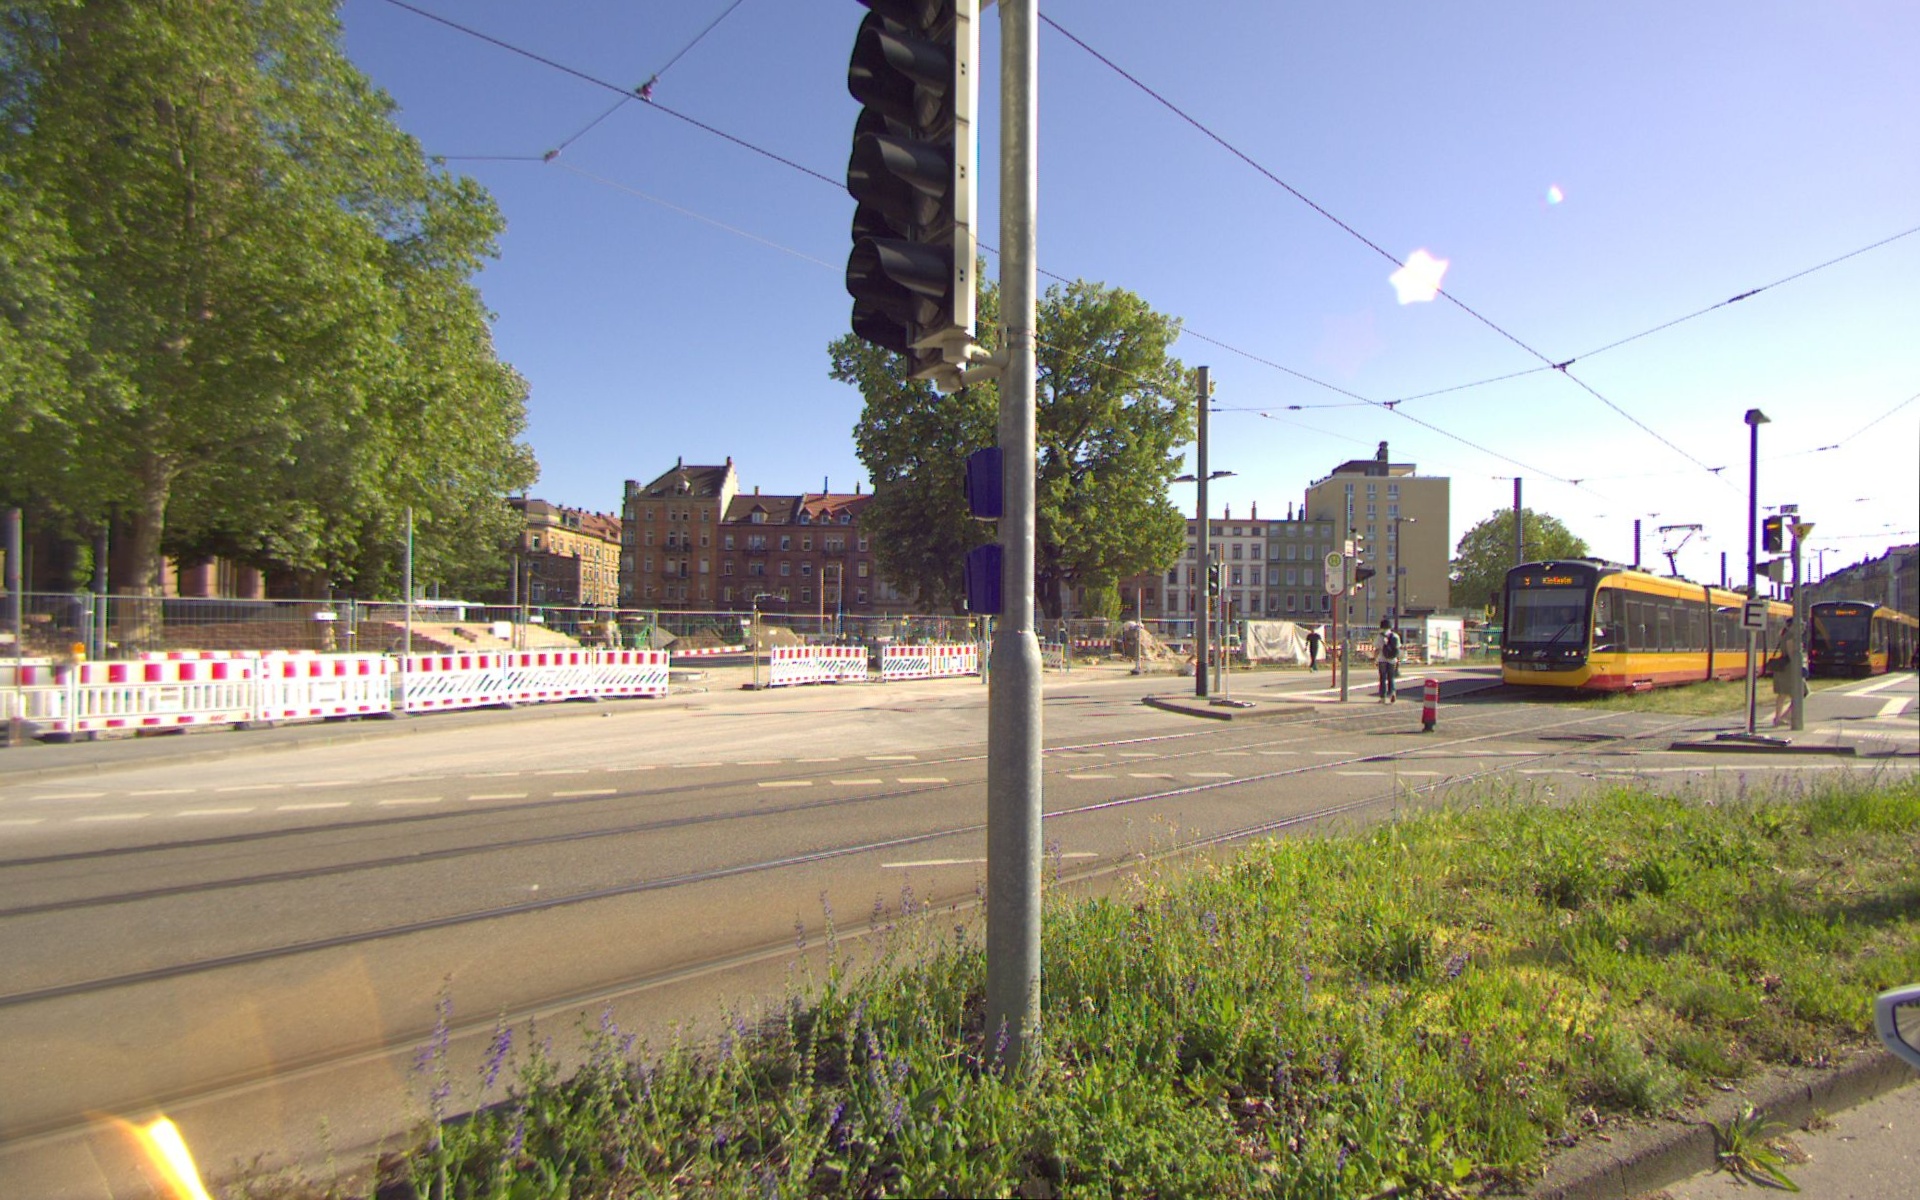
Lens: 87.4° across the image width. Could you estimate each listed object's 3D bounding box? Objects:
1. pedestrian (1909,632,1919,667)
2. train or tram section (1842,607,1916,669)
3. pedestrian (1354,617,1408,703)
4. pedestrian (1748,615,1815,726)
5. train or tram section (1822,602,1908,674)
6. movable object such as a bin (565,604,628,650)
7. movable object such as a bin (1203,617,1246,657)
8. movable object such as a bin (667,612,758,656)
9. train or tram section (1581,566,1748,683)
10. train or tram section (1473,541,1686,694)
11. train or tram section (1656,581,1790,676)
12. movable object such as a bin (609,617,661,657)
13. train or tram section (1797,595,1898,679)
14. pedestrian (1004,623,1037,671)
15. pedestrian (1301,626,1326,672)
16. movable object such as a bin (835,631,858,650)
[{"bbox_3d":[50.991,2.638,53.453,0.625,1.881,0.699,1,-1,41],"label":"pedestrian"},{"bbox_3d":[56.661,2.320,61.815,10.474,3.554,2.842,2,-2,-45],"label":"train or tram section"},{"bbox_3d":[9.377,1.324,22.407,0.745,1.856,1.020,1,-2,-1],"label":"pedestrian"},{"bbox_3d":[14.400,1.211,17.626,0.888,1.875,0.760,-1,0,39],"label":"pedestrian"},{"bbox_3d":[49.139,2.038,54.435,10.474,3.554,2.842,3,-2,-45],"label":"train or tram section"},{"bbox_3d":[-27.234,2.029,75.438,3.060,3.214,5.244,2,-1,-5],"label":"movable object such as a bin"},{"bbox_3d":[19.910,2.745,75.655,1.799,2.833,3.997,2,-1,-5],"label":"movable object such as a bin"},{"bbox_3d":[-17.690,2.426,71.919,5.968,2.795,1.894,3,-1,-3],"label":"movable object such as a bin"},{"bbox_3d":[25.013,0.902,35.356,10.539,3.554,2.789,2,-1,-44],"label":"train or tram section"},{"bbox_3d":[17.616,0.591,28.099,2.789,3.554,10.412,-1,-2,45],"label":"train or tram section"},{"bbox_3d":[32.685,1.238,42.780,11.134,3.554,2.789,2,-1,-44],"label":"train or tram section"},{"bbox_3d":[-20.745,2.322,64.248,1.857,2.377,4.230,2,-1,0],"label":"movable object such as a bin"},{"bbox_3d":[41.769,1.723,47.139,10.474,3.554,2.842,3,-2,-45],"label":"train or tram section"},{"bbox_3d":[2.276,1.772,38.100,0.855,1.791,0.966,2,-2,-30],"label":"pedestrian"},{"bbox_3d":[13.861,1.919,39.363,0.795,1.791,0.661,2,-2,-45],"label":"pedestrian"},{"bbox_3d":[-10.911,3.893,96.608,1.716,1.702,3.802,0,-1,2],"label":"movable object such as a bin"}]
